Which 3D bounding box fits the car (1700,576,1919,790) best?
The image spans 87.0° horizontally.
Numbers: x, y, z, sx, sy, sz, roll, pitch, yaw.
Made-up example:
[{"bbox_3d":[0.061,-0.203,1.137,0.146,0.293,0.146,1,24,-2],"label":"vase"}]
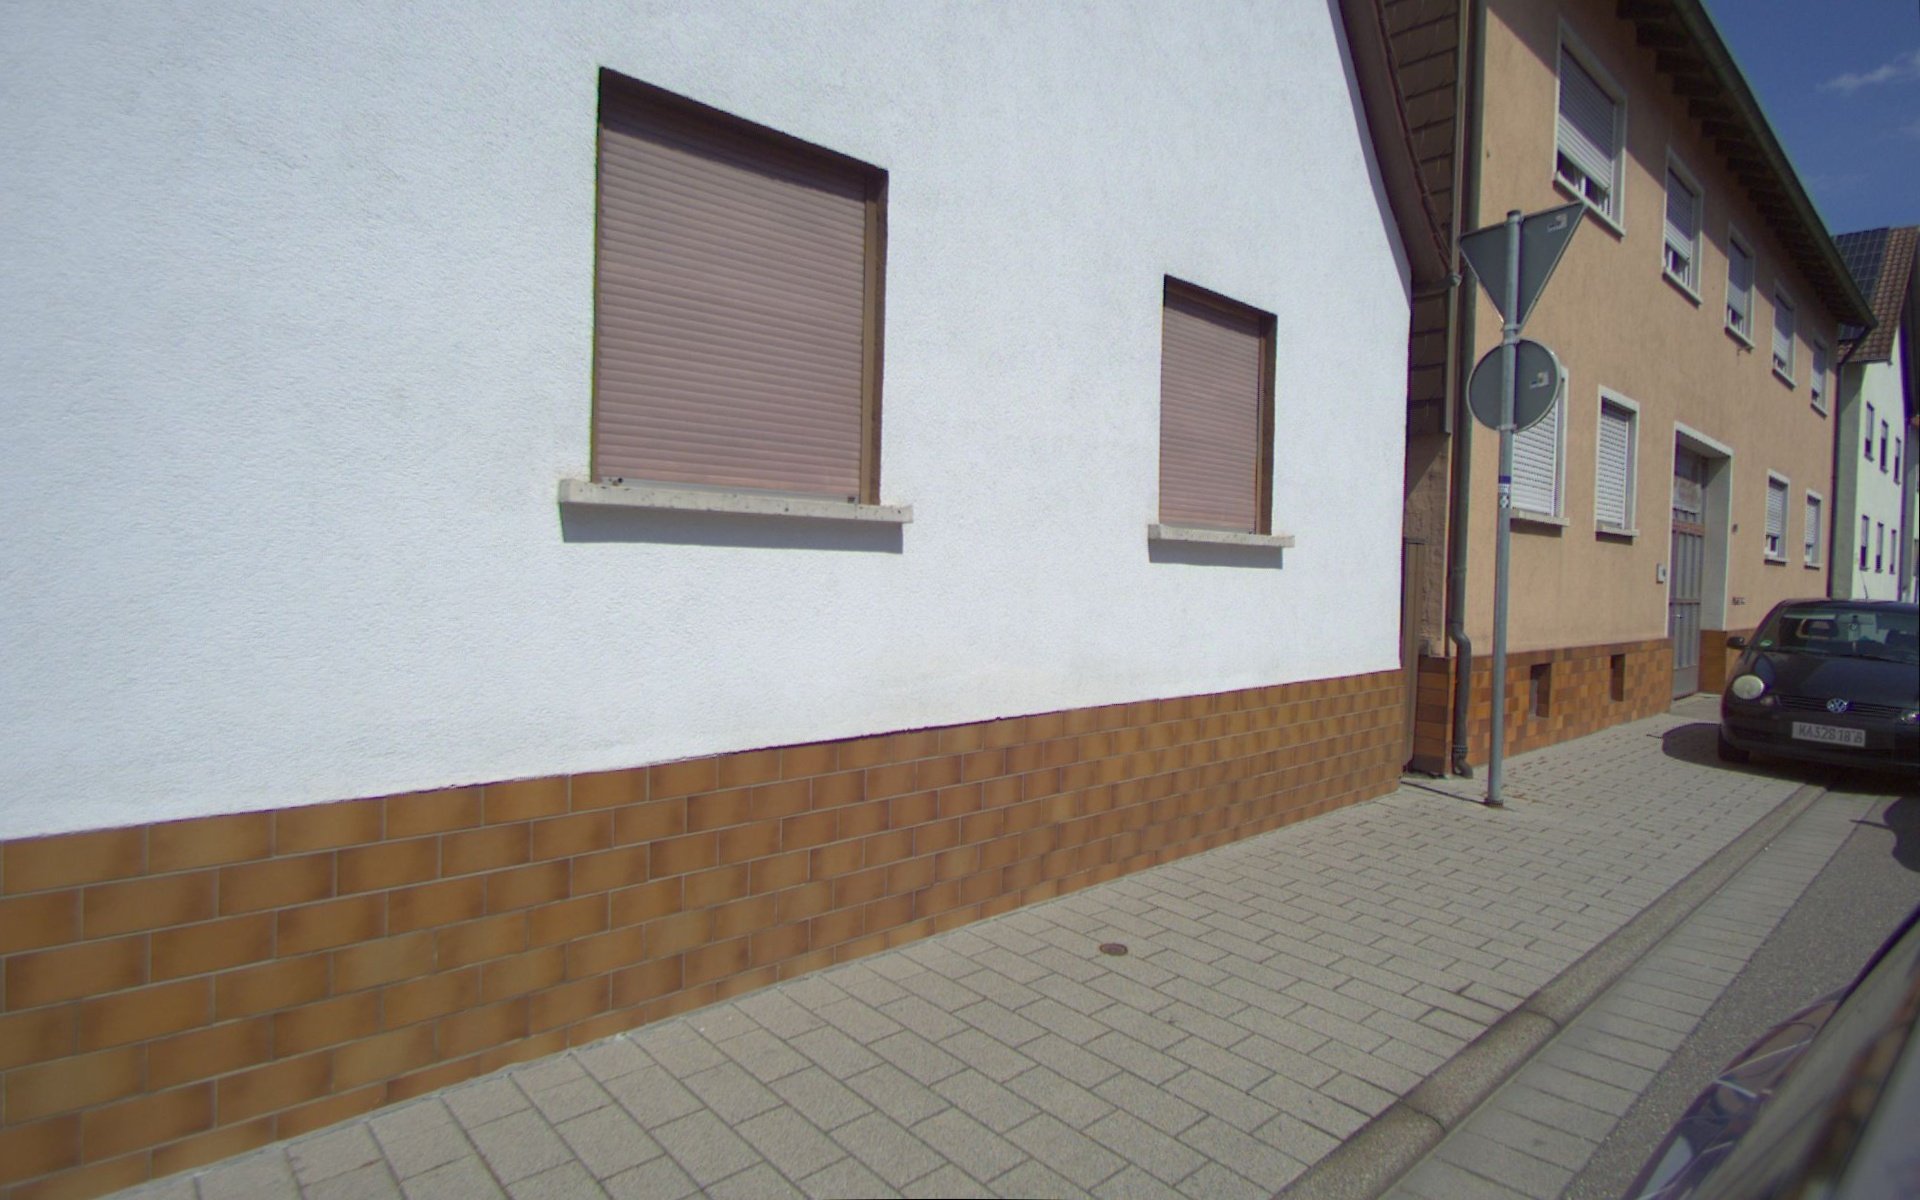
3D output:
[{"bbox_3d":[7.978,0.609,8.890,3.568,1.480,1.689,0,4,-43],"label":"car"}]
